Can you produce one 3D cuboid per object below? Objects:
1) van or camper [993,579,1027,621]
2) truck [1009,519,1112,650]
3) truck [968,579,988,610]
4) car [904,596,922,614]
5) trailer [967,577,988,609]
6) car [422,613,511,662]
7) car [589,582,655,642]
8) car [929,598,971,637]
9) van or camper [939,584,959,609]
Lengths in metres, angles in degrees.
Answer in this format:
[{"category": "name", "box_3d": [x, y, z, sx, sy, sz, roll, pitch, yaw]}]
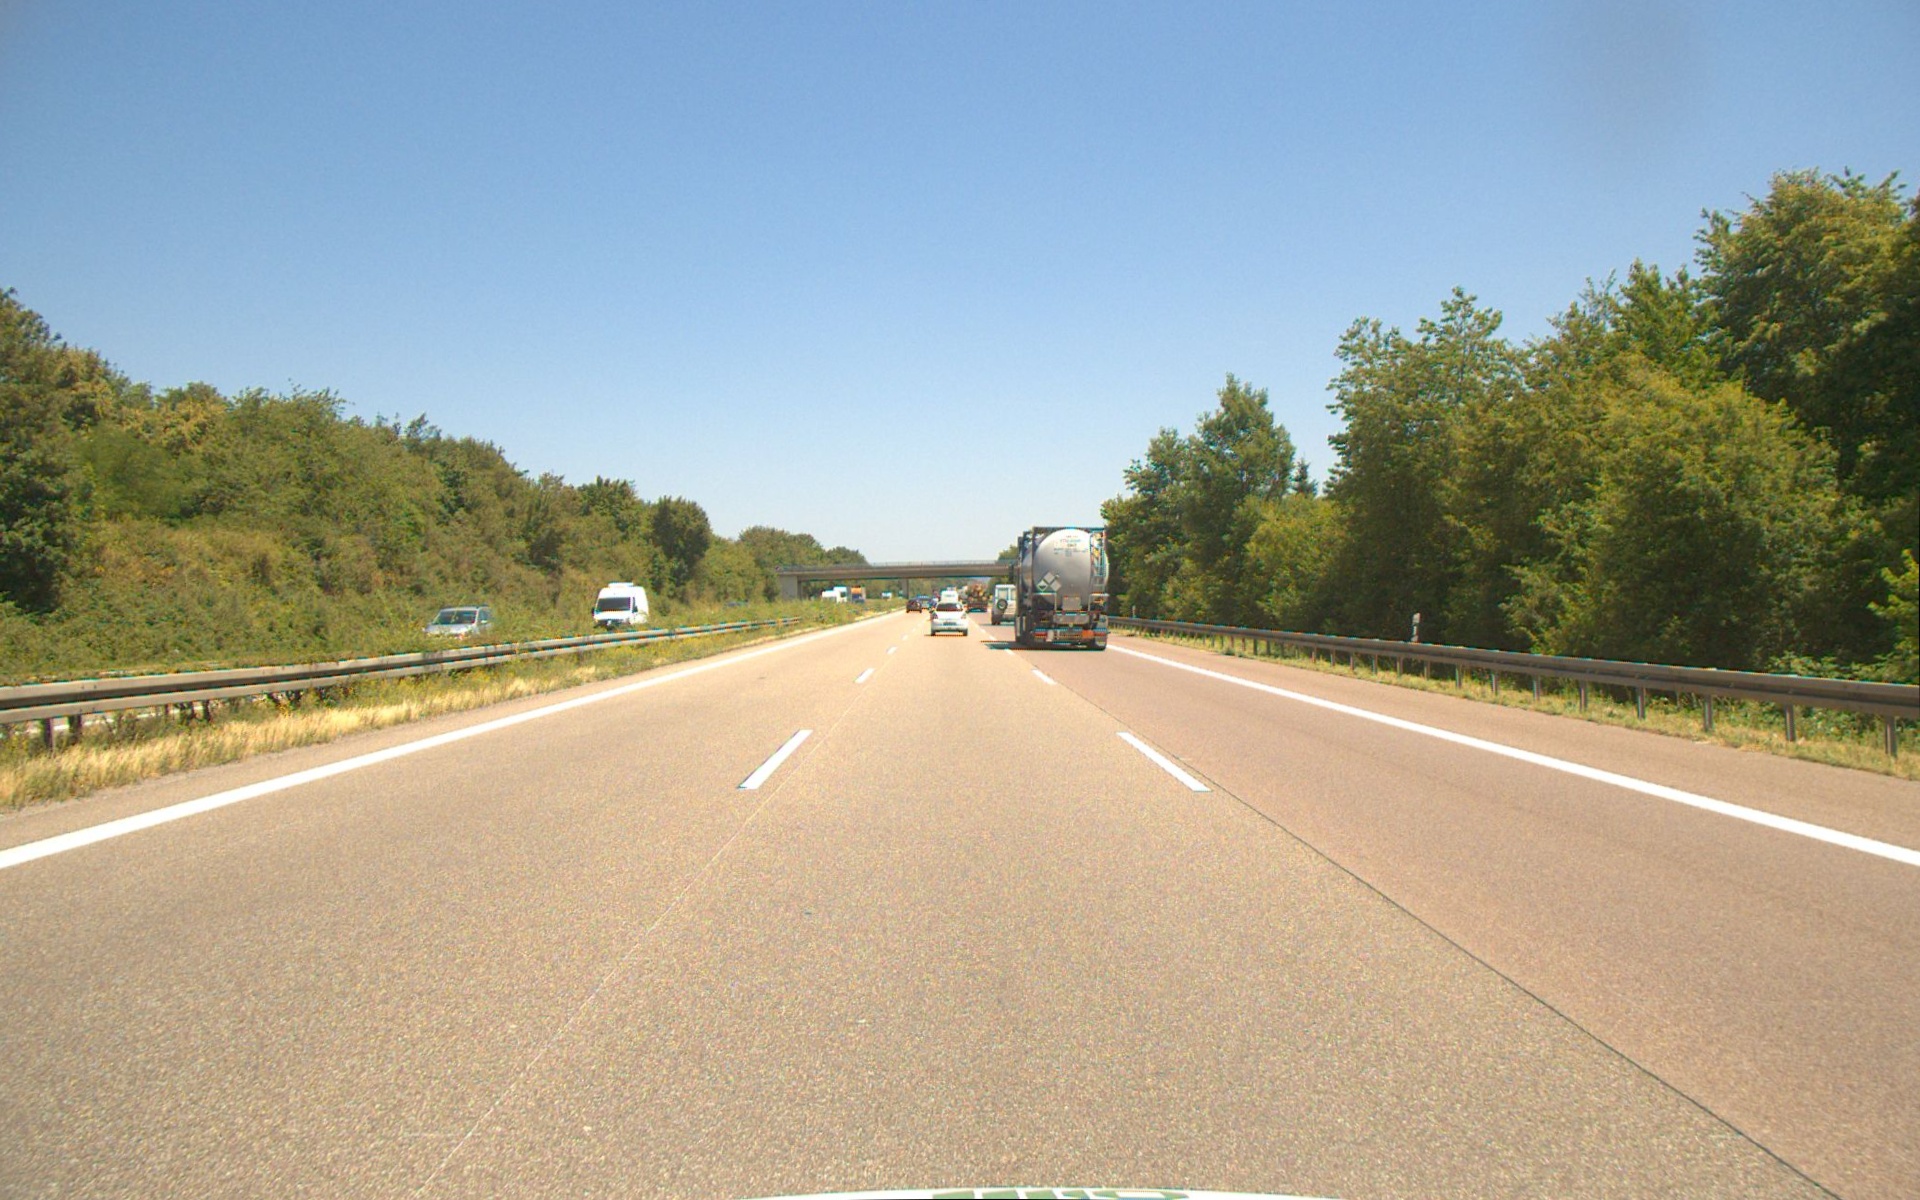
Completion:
[{"category": "van or camper", "box_3d": [3.327, 0.022, 111.565, 2.070, 2.750, 6.366, 0, 0, -1]}, {"category": "truck", "box_3d": [3.411, -0.478, 59.692, 2.741, 4.117, 13.352, 1, 0, 0]}, {"category": "truck", "box_3d": [2.348, -0.762, 220.002, 2.615, 4.064, 6.636, 0, 0, 1]}, {"category": "car", "box_3d": [-5.511, 0.613, 194.959, 2.010, 2.049, 4.175, 1, 0, -1]}, {"category": "trailer", "box_3d": [2.256, -0.856, 212.762, 2.598, 4.028, 13.637, 0, 0, 1]}, {"category": "car", "box_3d": [-16.604, 1.235, 55.821, 1.706, 1.534, 4.415, 1, 0, -1]}, {"category": "car", "box_3d": [-16.938, 0.589, 83.245, 1.994, 2.794, 6.657, -2, 0, -1]}, {"category": "car", "box_3d": [-0.471, 0.780, 75.055, 1.819, 1.681, 3.999, 1, 0, -1]}, {"category": "van or camper", "box_3d": [-1.191, -0.404, 181.734, 2.016, 2.668, 5.985, 0, 0, 1]}]
